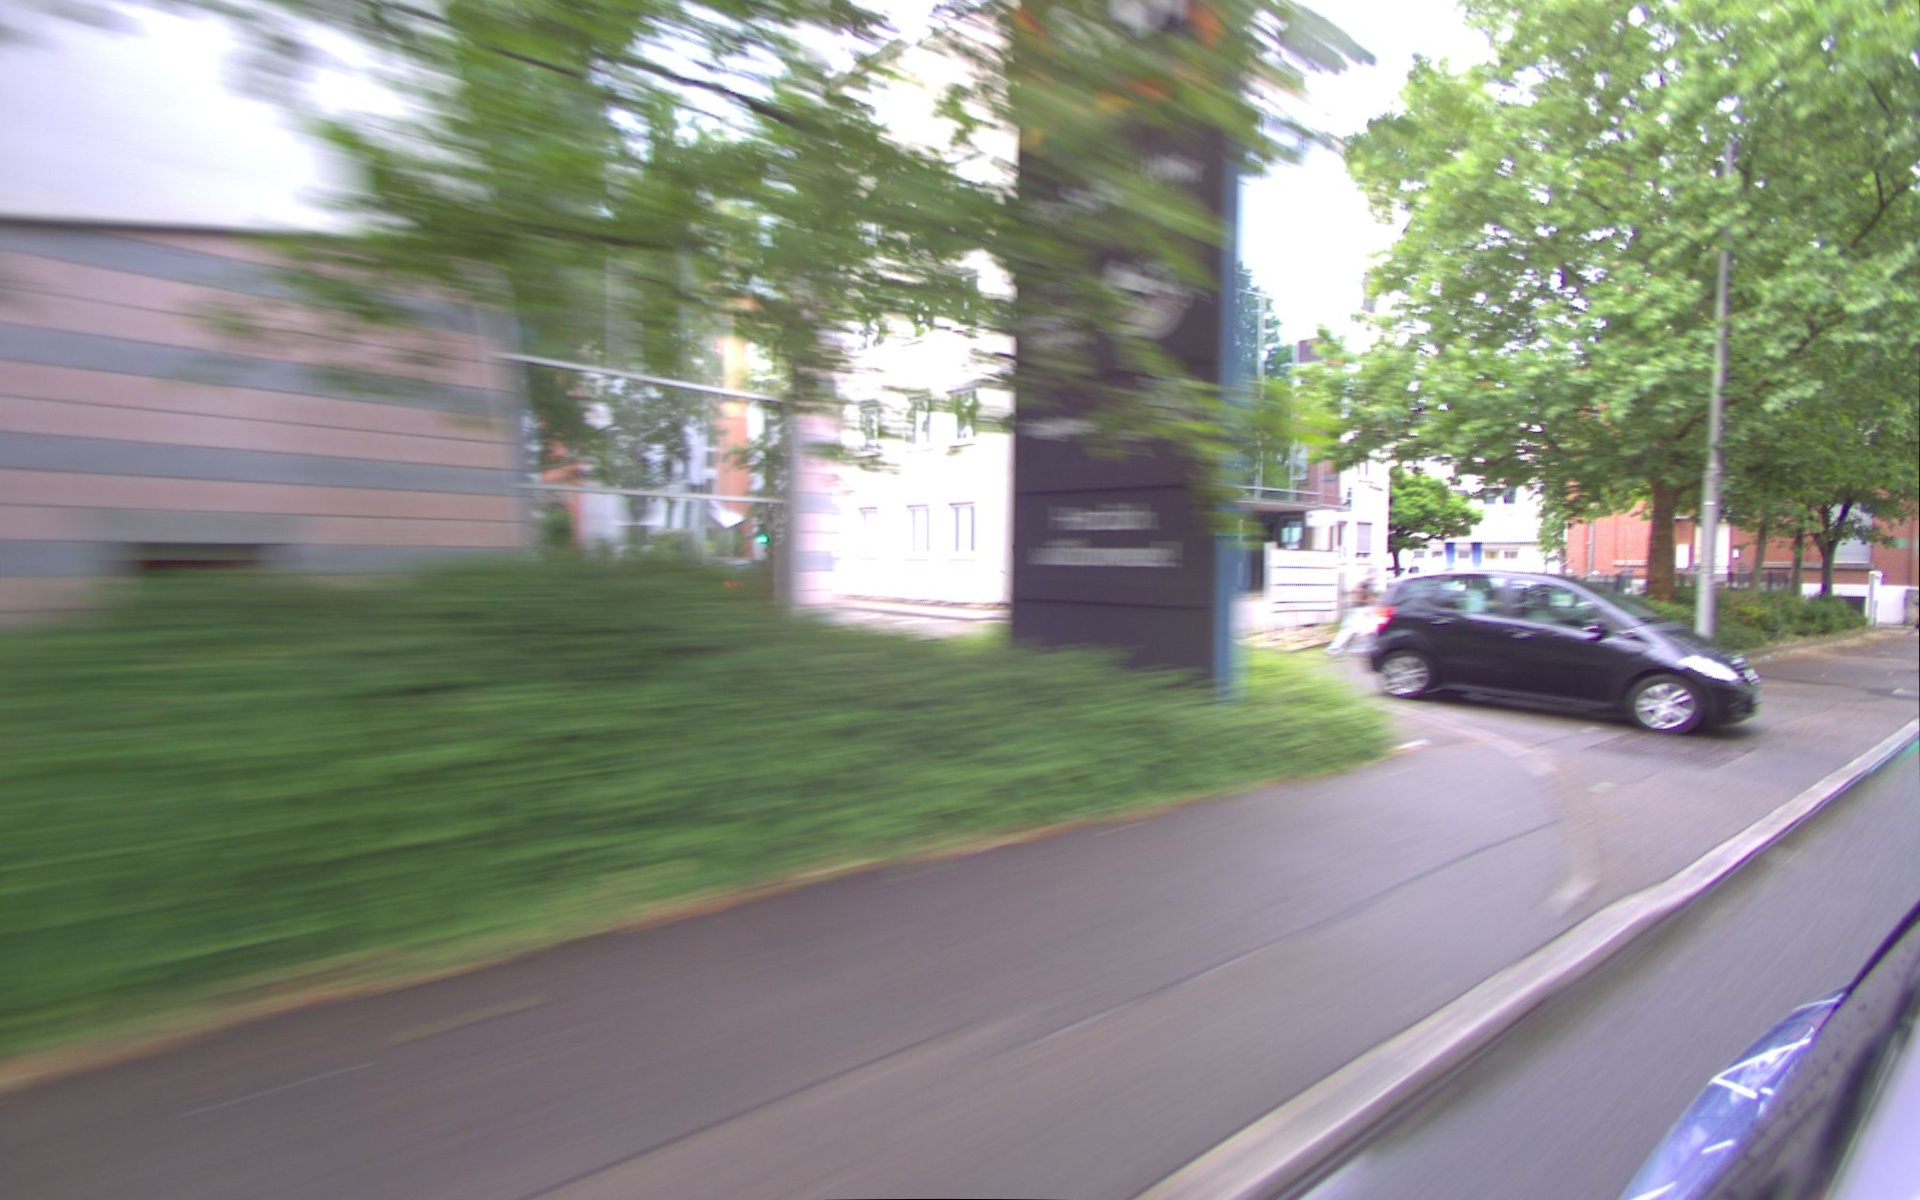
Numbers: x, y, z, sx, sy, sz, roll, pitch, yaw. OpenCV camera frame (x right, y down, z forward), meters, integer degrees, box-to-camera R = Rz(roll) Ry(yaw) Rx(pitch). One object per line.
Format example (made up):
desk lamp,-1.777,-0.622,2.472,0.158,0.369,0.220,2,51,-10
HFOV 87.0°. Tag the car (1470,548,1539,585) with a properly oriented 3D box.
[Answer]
car,28.798,-1.769,53.476,3.928,1.840,1.912,-2,1,-40

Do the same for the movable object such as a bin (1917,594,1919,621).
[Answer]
movable object such as a bin,33.471,0.268,34.907,0.562,0.944,0.592,-1,4,-41

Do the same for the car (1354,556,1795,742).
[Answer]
car,6.753,0.383,11.348,3.850,1.566,1.995,5,4,44

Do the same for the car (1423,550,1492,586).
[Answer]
car,27.058,-1.759,54.996,3.928,1.840,1.912,-2,1,-40

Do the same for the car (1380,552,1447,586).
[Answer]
car,25.494,-1.760,56.884,3.928,1.840,1.912,-2,1,-40

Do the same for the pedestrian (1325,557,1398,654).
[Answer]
pedestrian,7.004,0.079,17.661,0.689,1.637,0.920,0,2,-37
